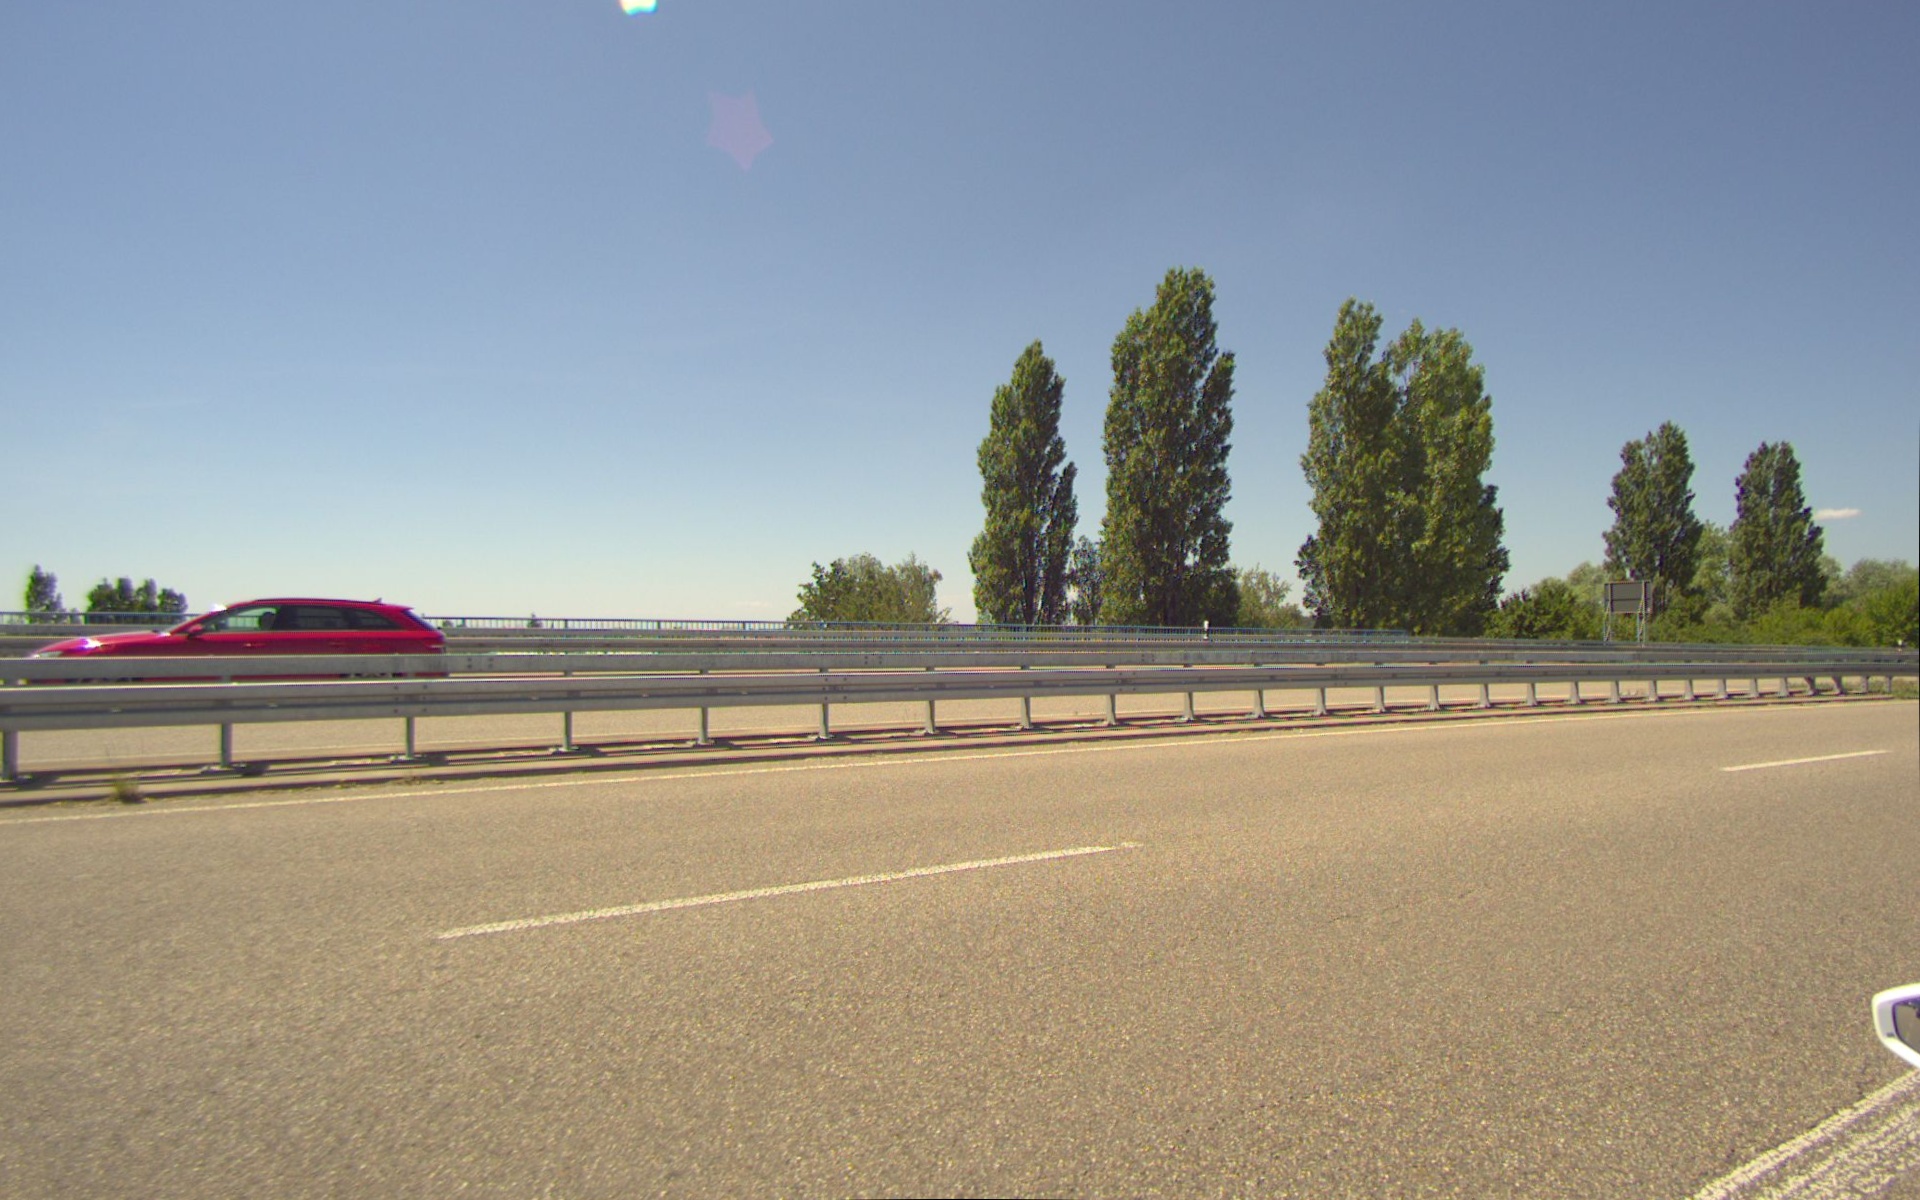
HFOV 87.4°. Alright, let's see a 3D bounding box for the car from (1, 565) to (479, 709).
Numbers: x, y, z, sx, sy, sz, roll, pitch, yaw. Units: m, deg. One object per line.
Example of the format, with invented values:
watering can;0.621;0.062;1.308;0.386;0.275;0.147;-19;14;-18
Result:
car;-9.466;0.525;13.797;4.993;1.689;1.834;2;-2;-31
